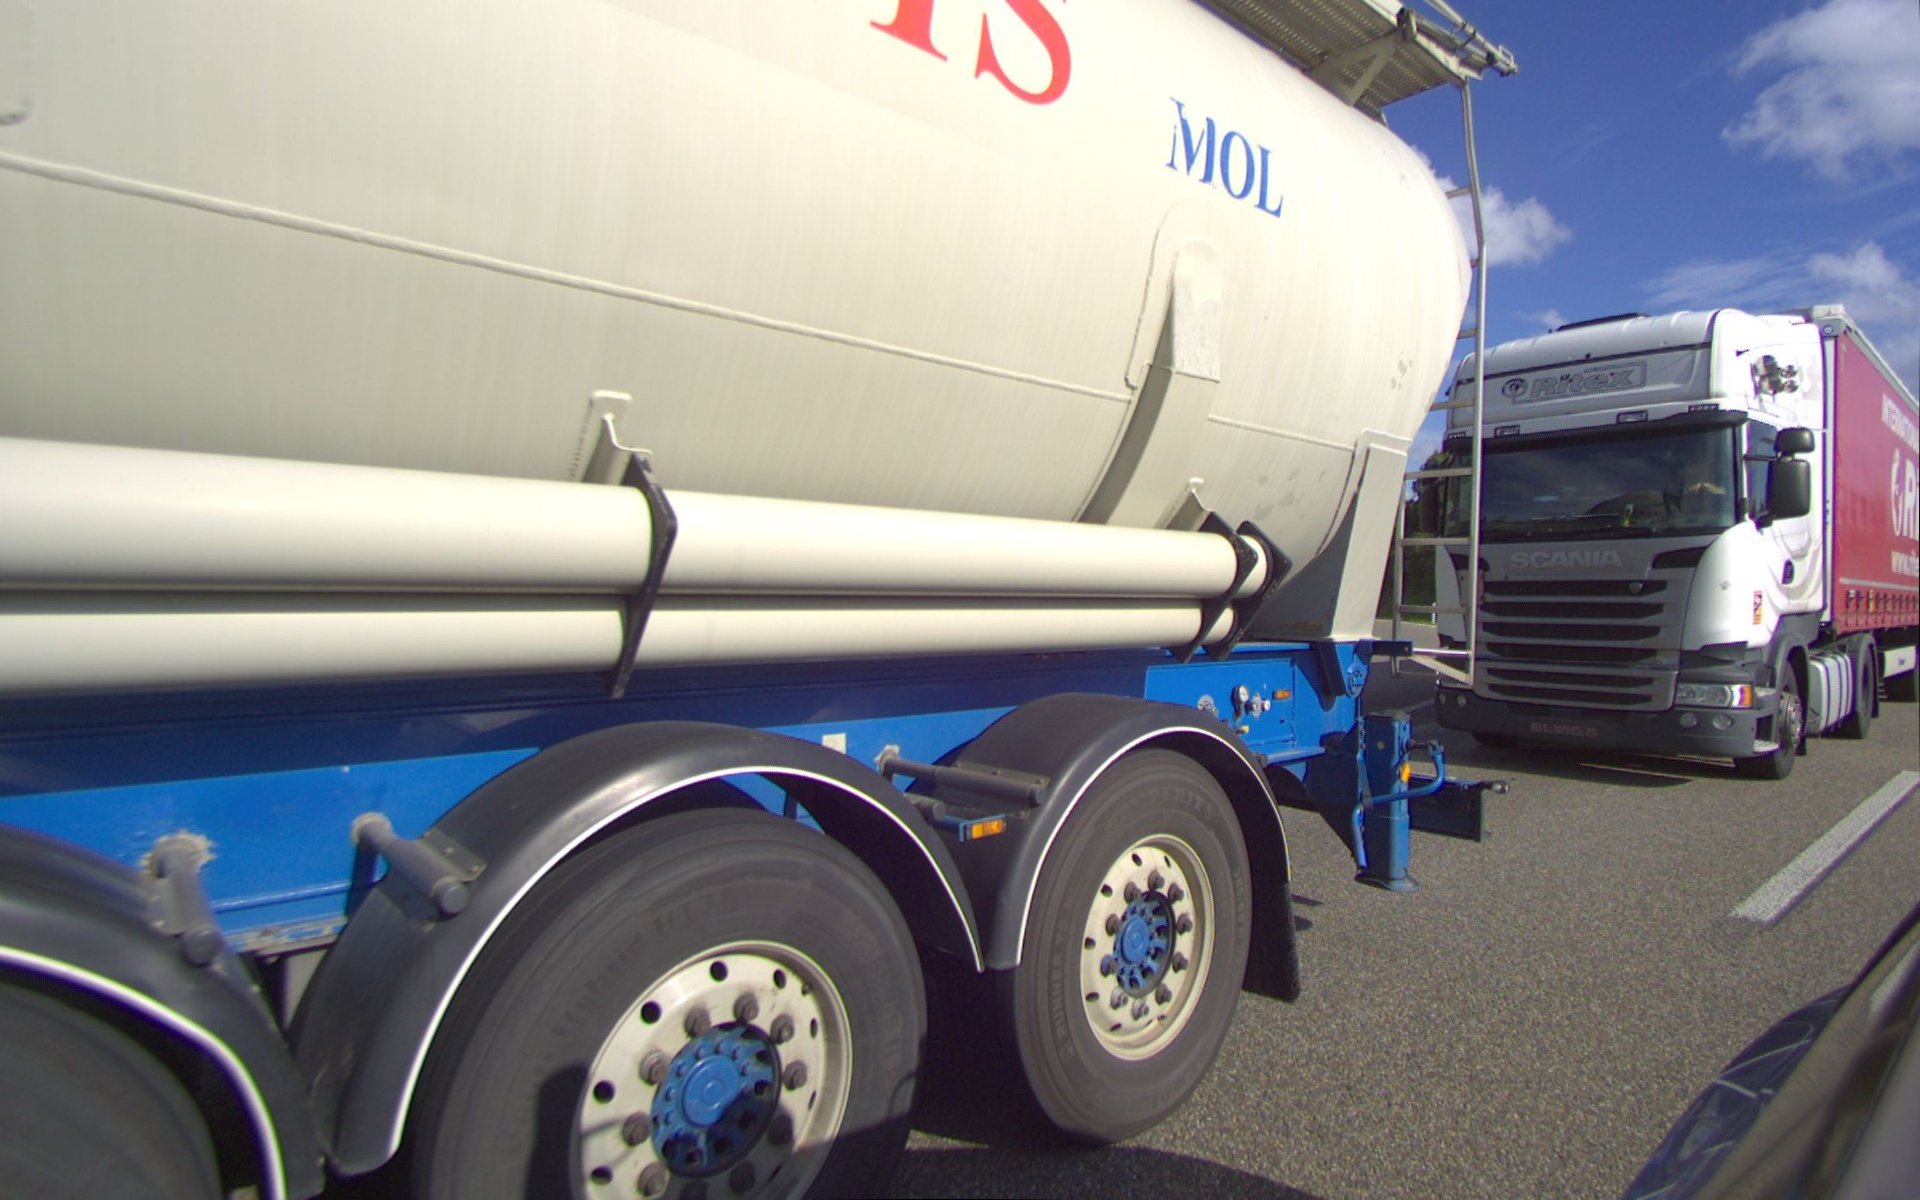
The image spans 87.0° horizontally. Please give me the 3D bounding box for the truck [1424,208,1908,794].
[{"bbox_3d":[7.125,-0.716,9.872,5.997,4.071,2.370,0,0,-40],"label":"truck"}]

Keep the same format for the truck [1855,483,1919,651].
[{"bbox_3d":[25.371,-0.781,26.105,5.850,4.033,2.632,0,0,-40],"label":"truck"}]

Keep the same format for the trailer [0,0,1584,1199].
[{"bbox_3d":[-2.425,-0.636,1.654,10.978,3.984,2.651,-1,1,-41],"label":"trailer"}]

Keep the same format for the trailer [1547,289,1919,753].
[{"bbox_3d":[12.305,-0.769,14.229,14.044,4.047,2.333,-1,1,-40],"label":"trailer"}]

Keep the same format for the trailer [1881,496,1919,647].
[{"bbox_3d":[30.944,-0.791,30.868,13.130,4.051,2.622,0,0,-41],"label":"trailer"}]
